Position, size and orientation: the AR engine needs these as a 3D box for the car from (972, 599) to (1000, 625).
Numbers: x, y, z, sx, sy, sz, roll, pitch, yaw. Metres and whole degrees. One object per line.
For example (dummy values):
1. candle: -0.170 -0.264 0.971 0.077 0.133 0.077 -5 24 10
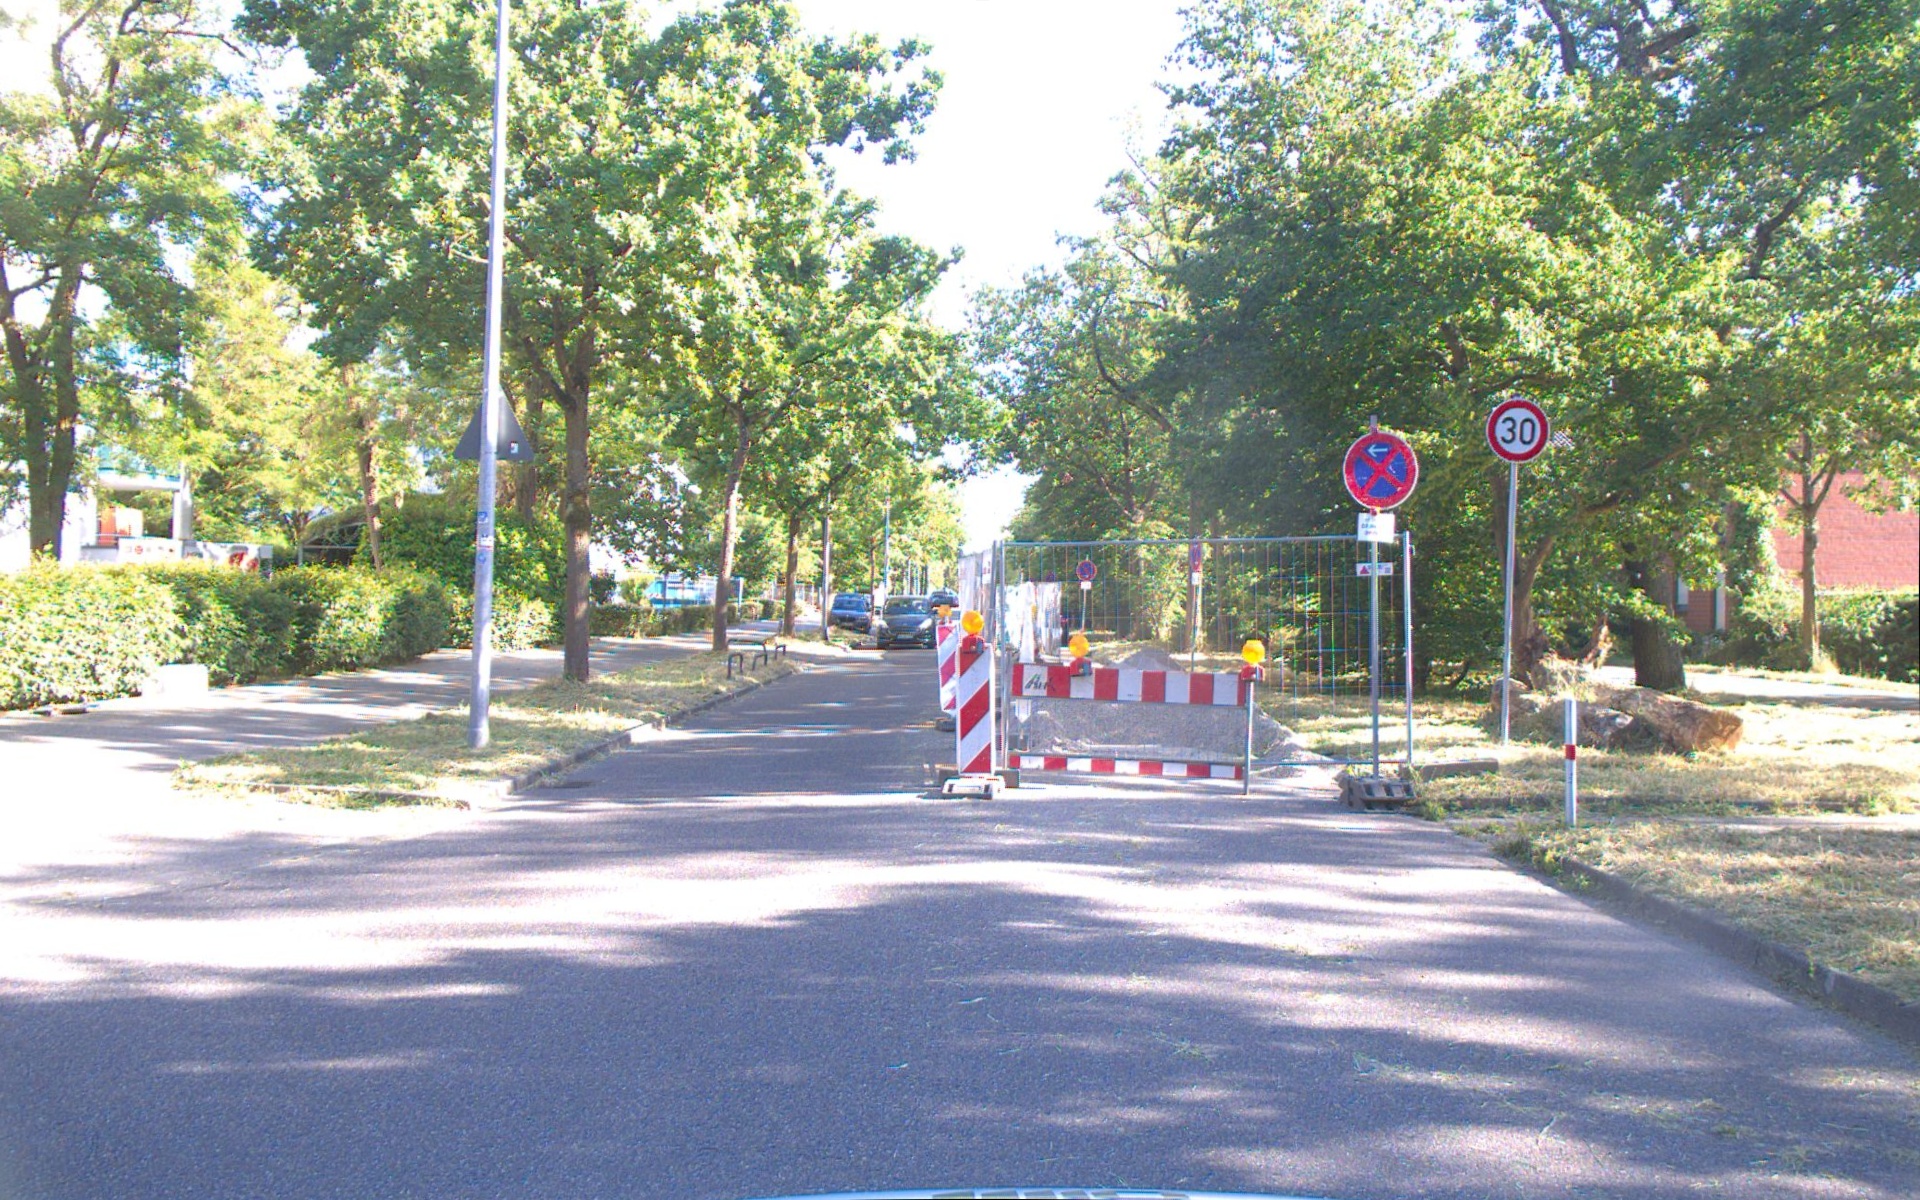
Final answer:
1. car: 1.409 0.681 90.602 1.334 1.325 3.480 2 -1 -2

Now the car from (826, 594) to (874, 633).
1. car: -4.485 0.550 68.003 1.715 1.504 3.836 1 0 -1

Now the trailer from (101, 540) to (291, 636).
1. trailer: -17.717 -0.263 38.604 1.934 2.078 4.433 1 0 7

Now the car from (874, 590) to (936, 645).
1. car: -1.723 0.541 52.929 1.784 1.653 4.492 -1 0 0

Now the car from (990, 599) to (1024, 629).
1. car: 2.180 0.686 77.633 1.334 1.325 3.480 2 -1 -2

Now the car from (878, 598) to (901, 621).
1. car: -4.376 0.616 103.163 1.334 1.325 3.480 2 -1 -2
